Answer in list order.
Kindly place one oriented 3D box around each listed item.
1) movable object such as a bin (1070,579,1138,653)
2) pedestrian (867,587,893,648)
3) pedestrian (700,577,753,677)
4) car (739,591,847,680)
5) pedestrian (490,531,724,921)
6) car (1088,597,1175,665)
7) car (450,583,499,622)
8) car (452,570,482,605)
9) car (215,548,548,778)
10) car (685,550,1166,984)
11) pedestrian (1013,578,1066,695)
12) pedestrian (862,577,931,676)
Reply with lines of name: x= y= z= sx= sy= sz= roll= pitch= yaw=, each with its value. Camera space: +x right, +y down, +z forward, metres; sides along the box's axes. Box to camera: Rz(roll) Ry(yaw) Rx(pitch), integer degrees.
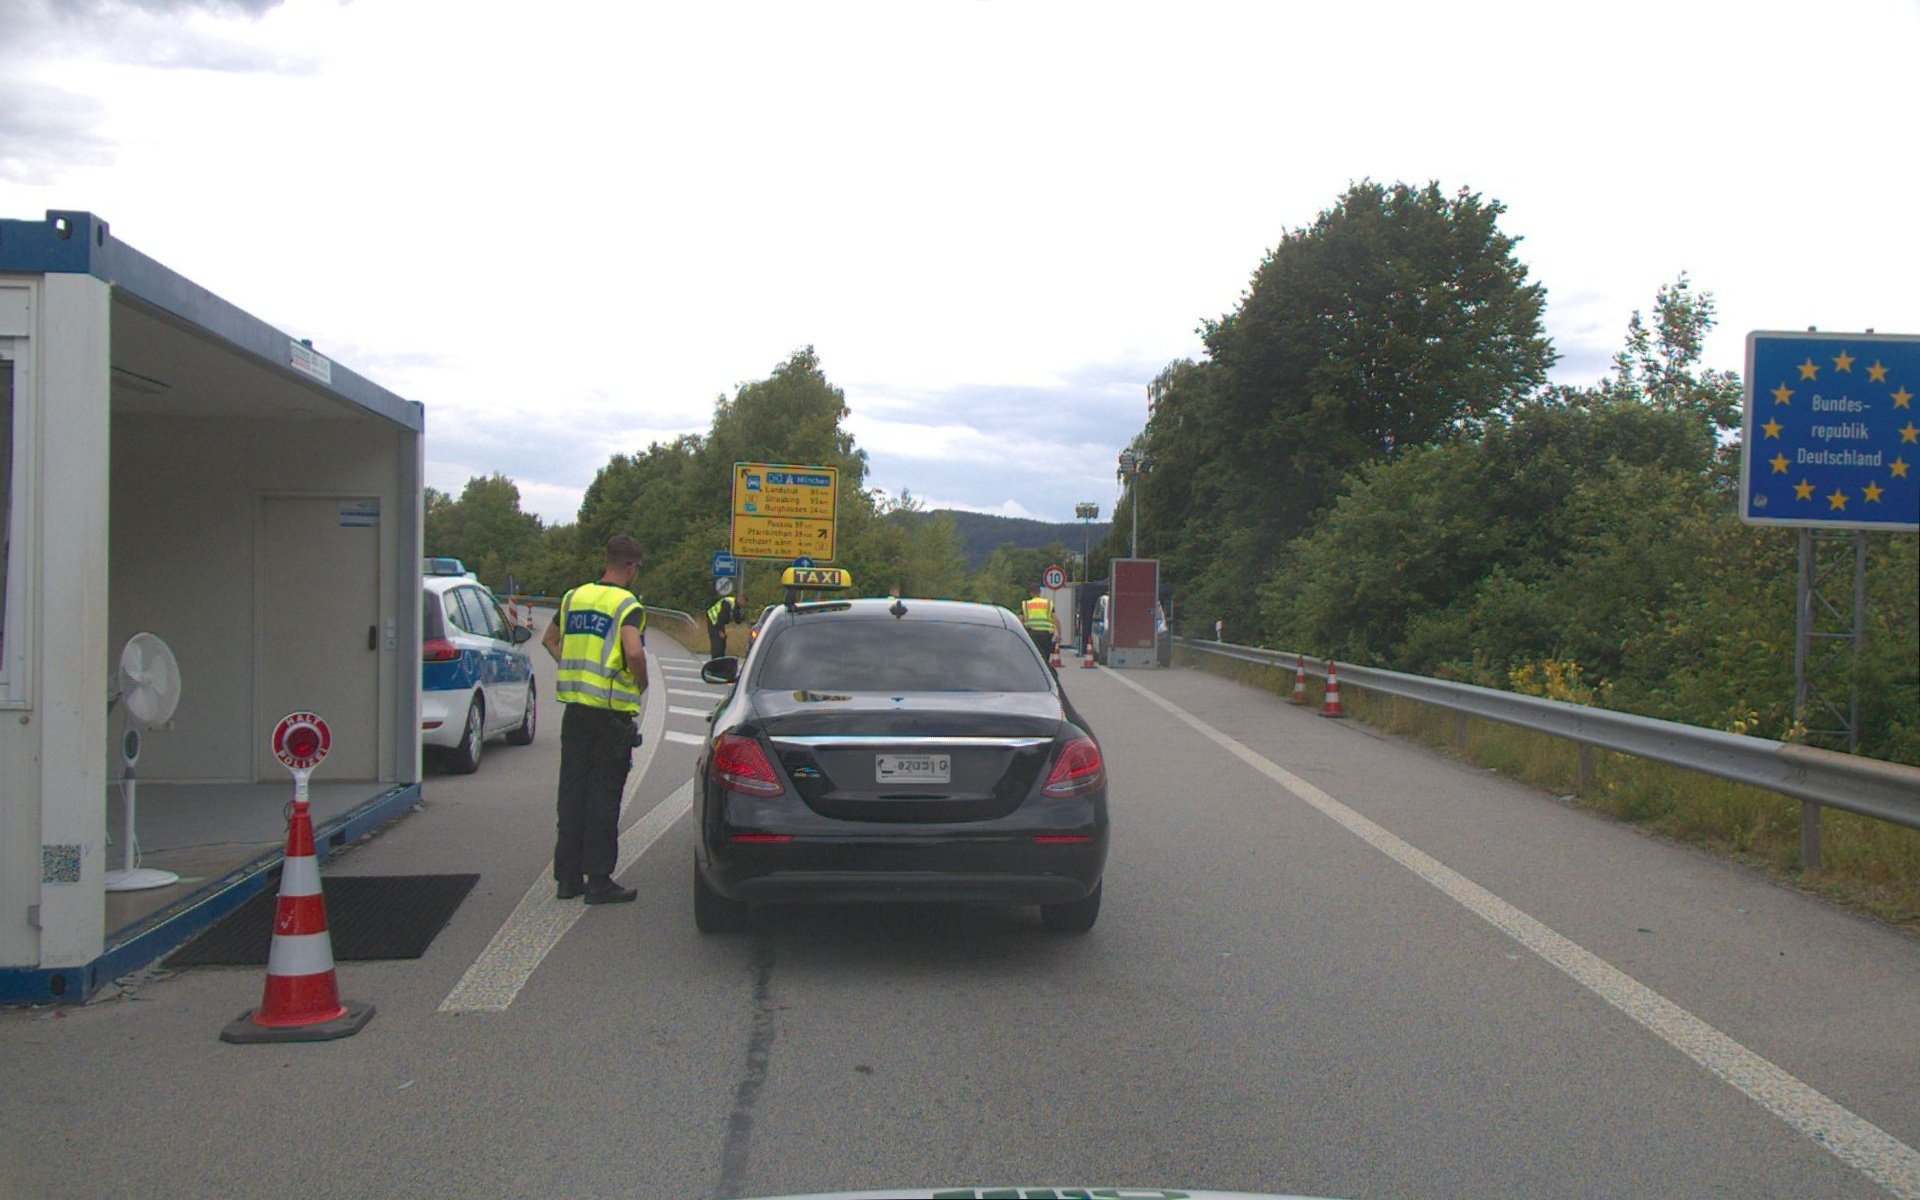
movable object such as a bin: x=4.721 y=0.494 z=54.652 sx=1.952 sy=2.320 sz=4.168 roll=1 pitch=0 yaw=1
pedestrian: x=-2.610 y=0.572 z=54.042 sx=0.650 sy=1.995 sz=0.760 roll=0 pitch=0 yaw=15
pedestrian: x=-4.322 y=0.493 z=30.664 sx=0.893 sy=1.800 sz=0.911 roll=1 pitch=0 yaw=-4
car: x=-3.030 y=0.611 z=30.678 sx=1.818 sy=1.524 sz=4.253 roll=1 pitch=0 yaw=-4
pedestrian: x=-1.693 y=0.563 z=7.971 sx=0.747 sy=1.748 sz=0.815 roll=0 pitch=0 yaw=36
car: x=4.691 y=0.805 z=45.807 sx=1.877 sy=1.707 sz=5.083 roll=2 pitch=0 yaw=1
car: x=-20.000 y=0.098 z=68.248 sx=1.825 sy=1.524 sz=4.239 roll=1 pitch=0 yaw=-15
car: x=-33.501 y=-0.843 z=112.341 sx=1.827 sy=2.261 sz=4.233 roll=1 pitch=0 yaw=-19
car: x=-4.976 y=0.486 z=14.821 sx=1.832 sy=1.774 sz=4.004 roll=1 pitch=0 yaw=-5
car: x=-0.319 y=0.628 z=8.464 sx=1.819 sy=1.623 sz=4.370 roll=1 pitch=0 yaw=-5
pedestrian: x=1.277 y=0.577 z=26.716 sx=0.796 sy=1.862 sz=0.809 roll=0 pitch=0 yaw=-1
pedestrian: x=-1.134 y=0.469 z=29.473 sx=0.900 sy=1.727 sz=0.903 roll=1 pitch=0 yaw=-32
